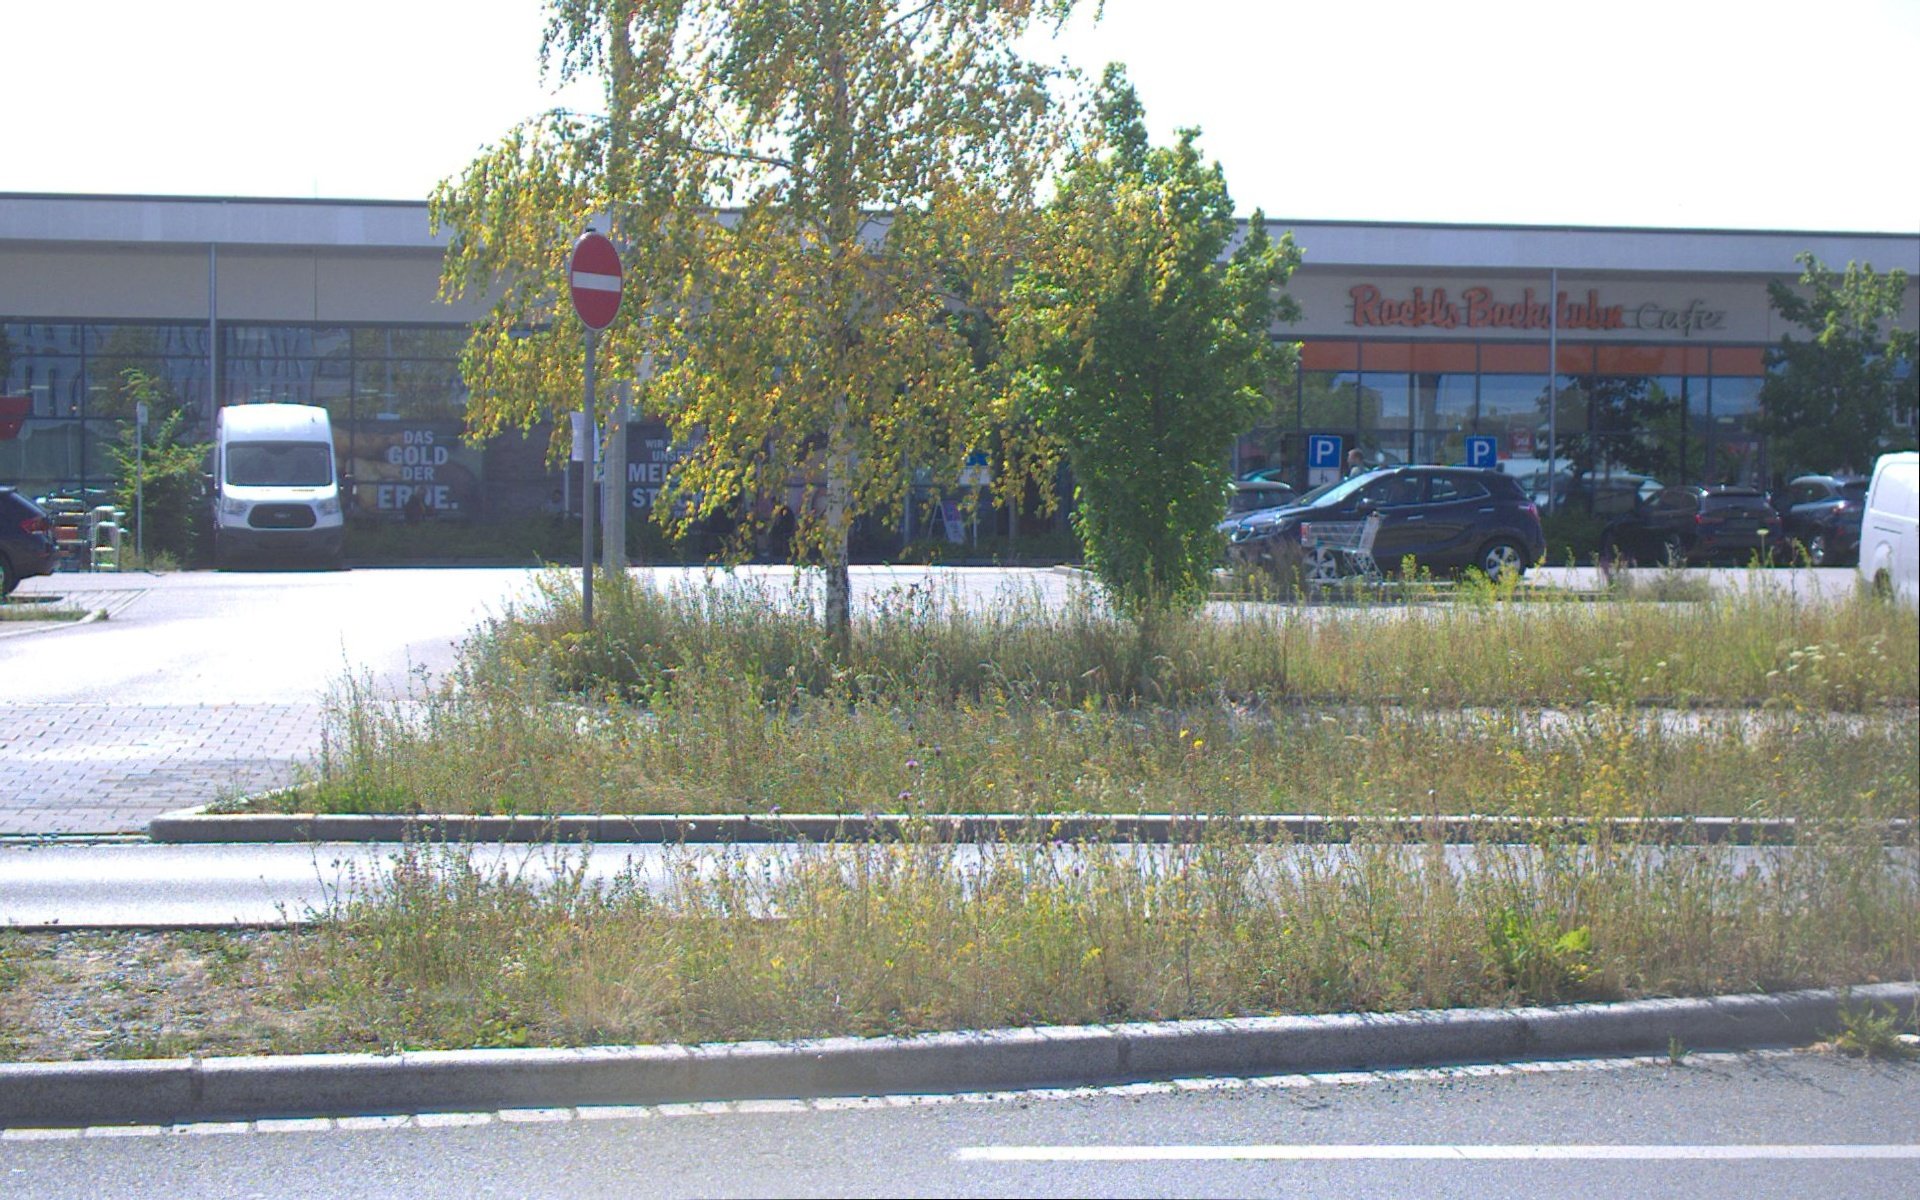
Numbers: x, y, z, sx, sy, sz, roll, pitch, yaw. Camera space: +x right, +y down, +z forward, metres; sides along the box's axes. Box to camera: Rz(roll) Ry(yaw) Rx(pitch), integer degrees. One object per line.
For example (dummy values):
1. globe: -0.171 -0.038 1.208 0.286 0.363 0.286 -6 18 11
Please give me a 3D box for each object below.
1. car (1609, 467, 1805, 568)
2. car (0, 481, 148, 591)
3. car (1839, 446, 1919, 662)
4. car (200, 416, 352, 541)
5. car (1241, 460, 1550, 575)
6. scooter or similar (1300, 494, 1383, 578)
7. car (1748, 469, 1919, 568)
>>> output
1. car: 13.276 -1.499 61.333 1.993 1.701 4.002 0 2 -11
2. car: -12.727 -0.872 45.501 3.831 1.418 1.773 1 2 -13
3. car: 9.981 -0.414 31.922 2.081 2.006 5.230 1 2 -2
4. car: -11.513 -2.052 57.547 2.222 1.970 6.699 0 2 -14
5. car: 5.863 -1.130 46.482 3.793 1.503 1.732 0 2 -9
6. scooter or similar: 4.946 -0.836 44.656 0.943 1.075 0.652 0 2 -5
7. car: 15.883 -1.493 62.023 1.993 1.701 4.001 0 2 -6
